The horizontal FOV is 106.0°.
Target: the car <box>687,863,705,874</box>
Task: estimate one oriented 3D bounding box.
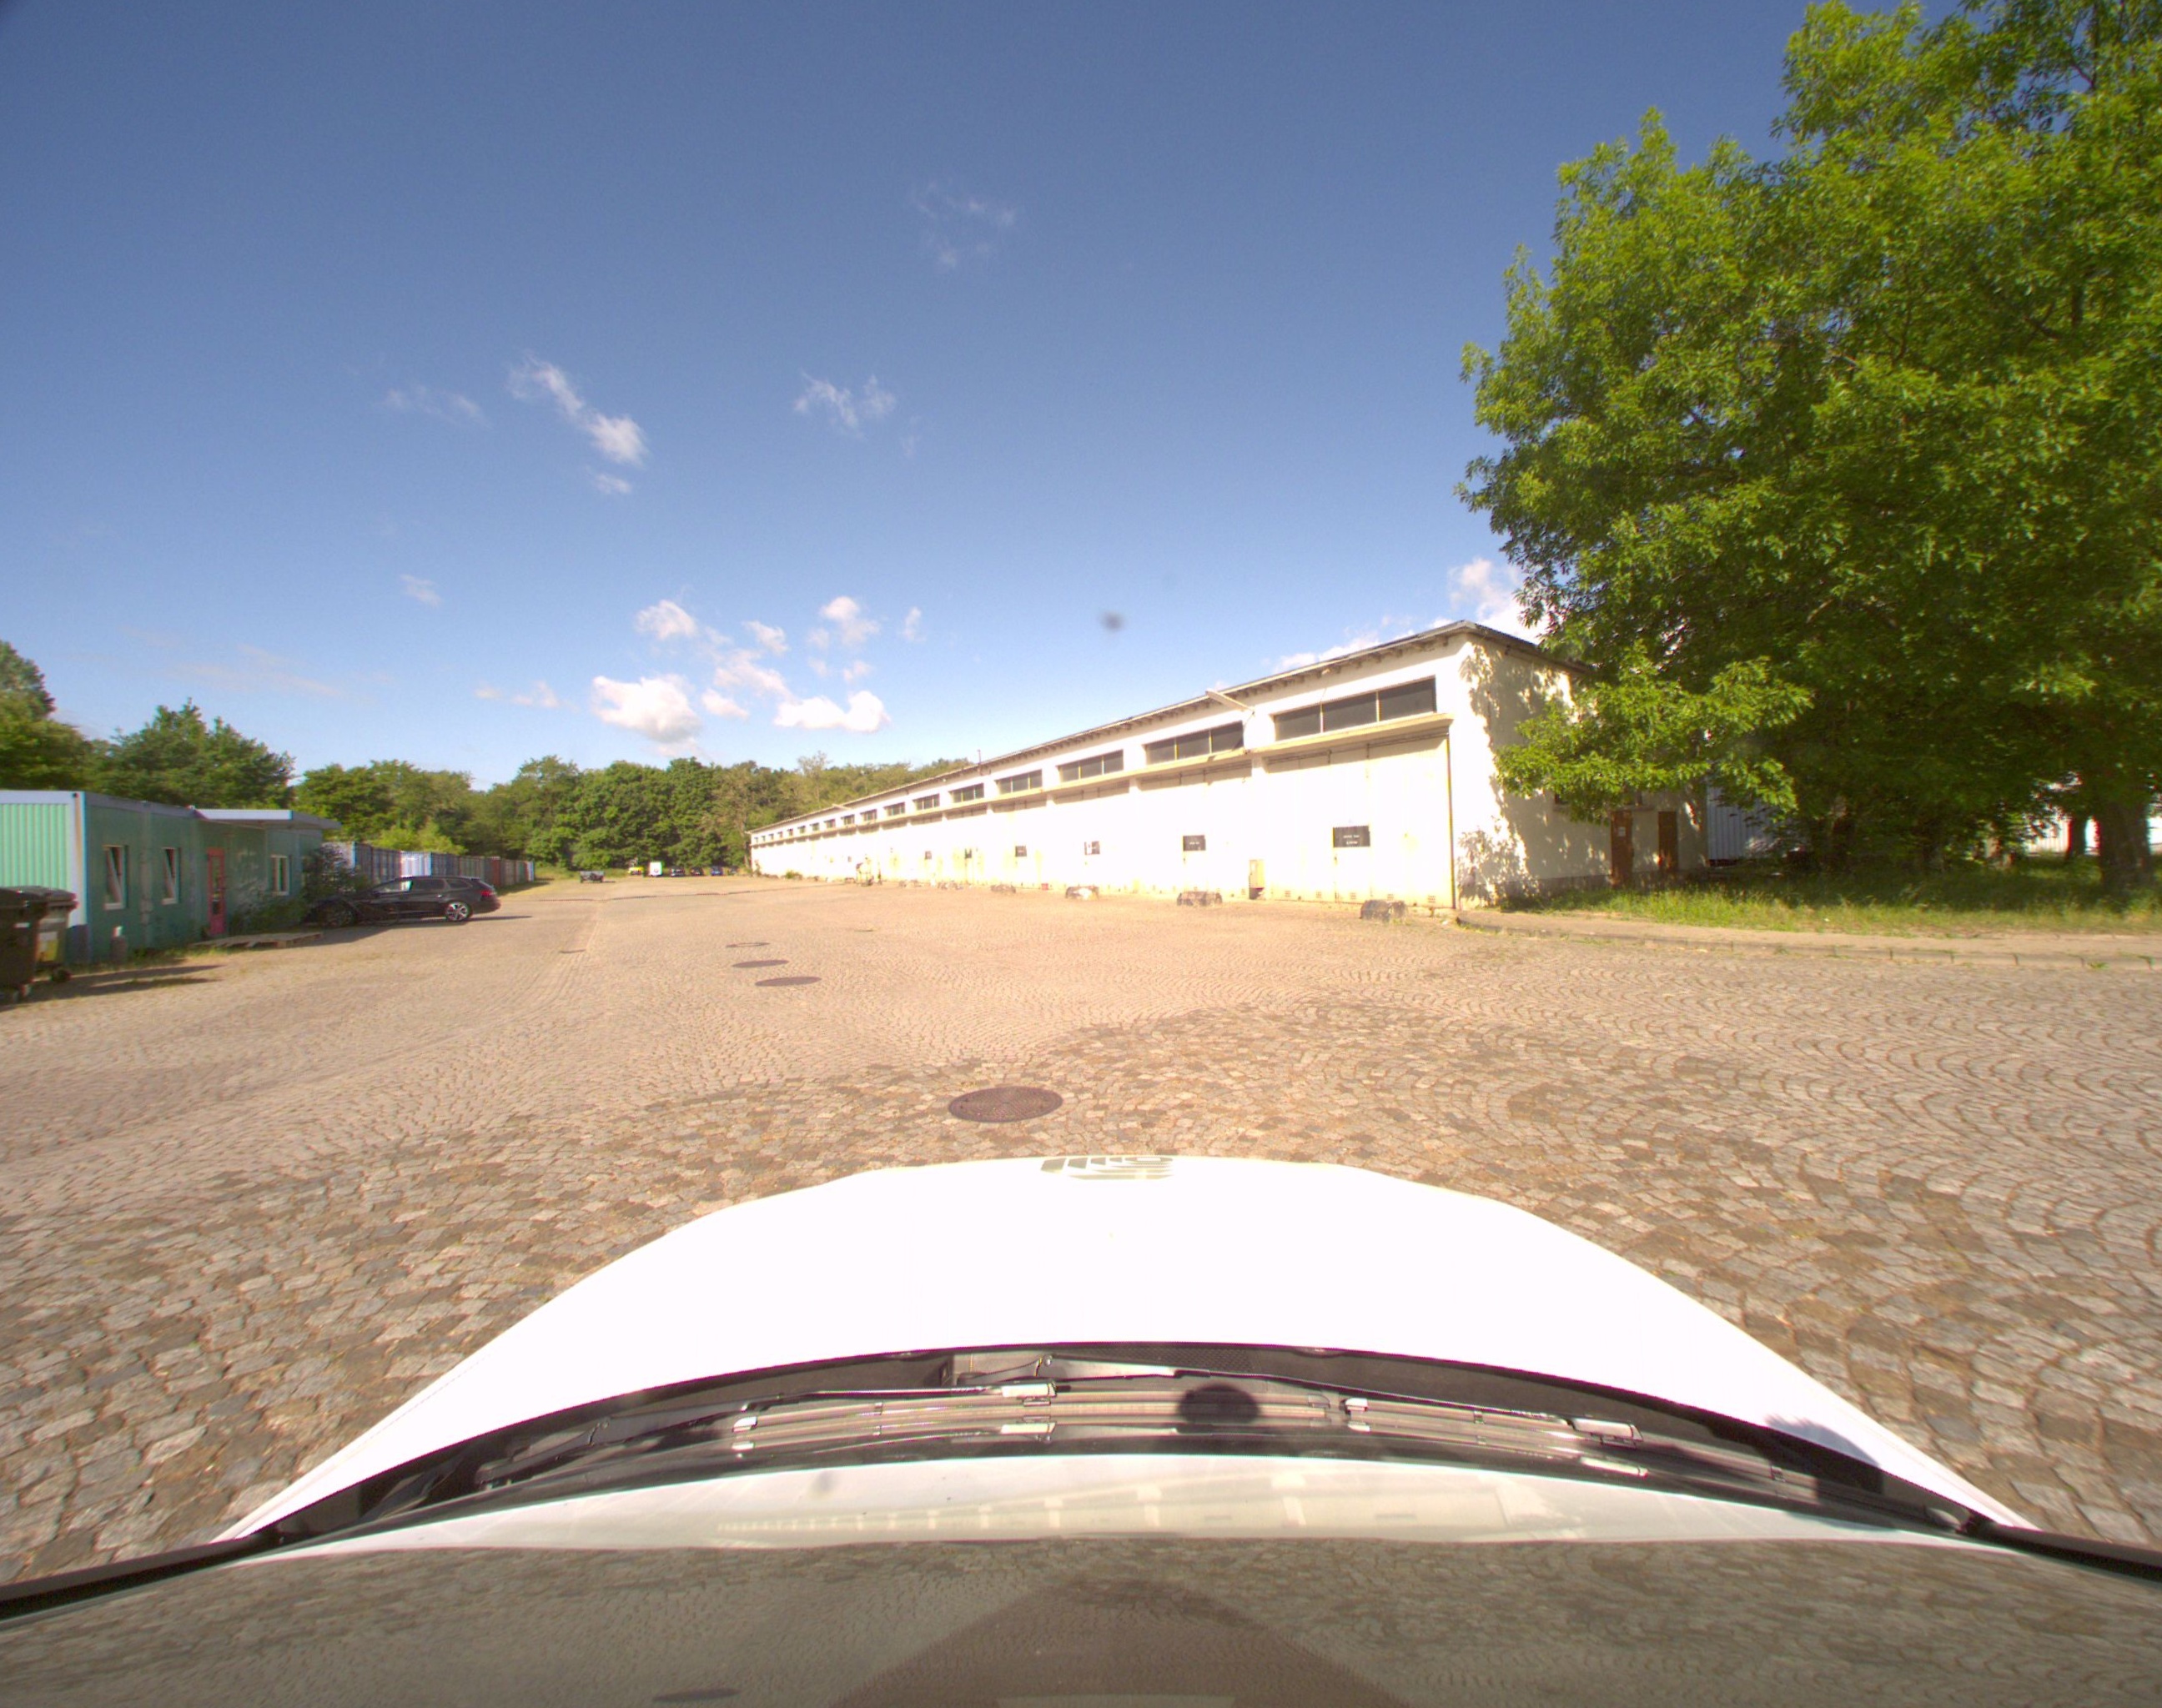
[{"bbox_3d":[-55.220,2.022,116.650,2.006,1.424,3.962,-2,0,-30],"label":"car"}]

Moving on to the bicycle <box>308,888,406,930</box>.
[{"bbox_3d":[-20.400,1.530,23.012,1.888,1.027,1.028,-2,0,-32],"label":"bicycle"}]

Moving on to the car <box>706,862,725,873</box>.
[{"bbox_3d":[-52.958,1.898,117.944,2.006,1.466,3.962,-2,0,-30],"label":"car"}]

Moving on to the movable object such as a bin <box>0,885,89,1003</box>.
[{"bbox_3d":[-13.735,1.120,10.034,1.519,1.386,1.392,-2,0,16],"label":"movable object such as a bin"}]

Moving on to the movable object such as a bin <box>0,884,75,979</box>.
[{"bbox_3d":[-16.837,1.190,12.571,1.394,1.386,1.517,-2,0,-42],"label":"movable object such as a bin"}]

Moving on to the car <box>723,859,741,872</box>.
[{"bbox_3d":[-51.510,1.716,120.205,2.006,1.772,3.962,-2,0,-30],"label":"car"}]

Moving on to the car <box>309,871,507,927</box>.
[{"bbox_3d":[-20.363,1.303,24.926,4.446,1.464,1.979,-1,0,-33],"label":"car"}]

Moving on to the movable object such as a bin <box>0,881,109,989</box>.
[{"bbox_3d":[-15.261,1.136,11.602,1.304,1.422,1.522,-2,0,-28],"label":"movable object such as a bin"}]

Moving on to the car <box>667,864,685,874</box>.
[{"bbox_3d":[-57.240,2.125,115.056,2.006,1.258,3.962,-2,0,-30],"label":"car"}]

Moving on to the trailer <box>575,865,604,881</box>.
[{"bbox_3d":[-57.371,2.195,95.175,2.809,1.646,5.565,-2,0,-30],"label":"trailer"}]

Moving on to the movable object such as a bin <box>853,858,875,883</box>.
[{"bbox_3d":[-12.226,0.930,45.919,0.880,1.401,1.091,-2,0,-31],"label":"movable object such as a bin"}]

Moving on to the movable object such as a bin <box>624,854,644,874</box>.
[{"bbox_3d":[-62.711,1.456,114.191,2.247,2.657,3.959,-2,0,-32],"label":"movable object such as a bin"}]

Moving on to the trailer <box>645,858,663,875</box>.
[{"bbox_3d":[-60.183,1.752,114.777,2.006,2.162,4.389,-2,0,-30],"label":"trailer"}]
